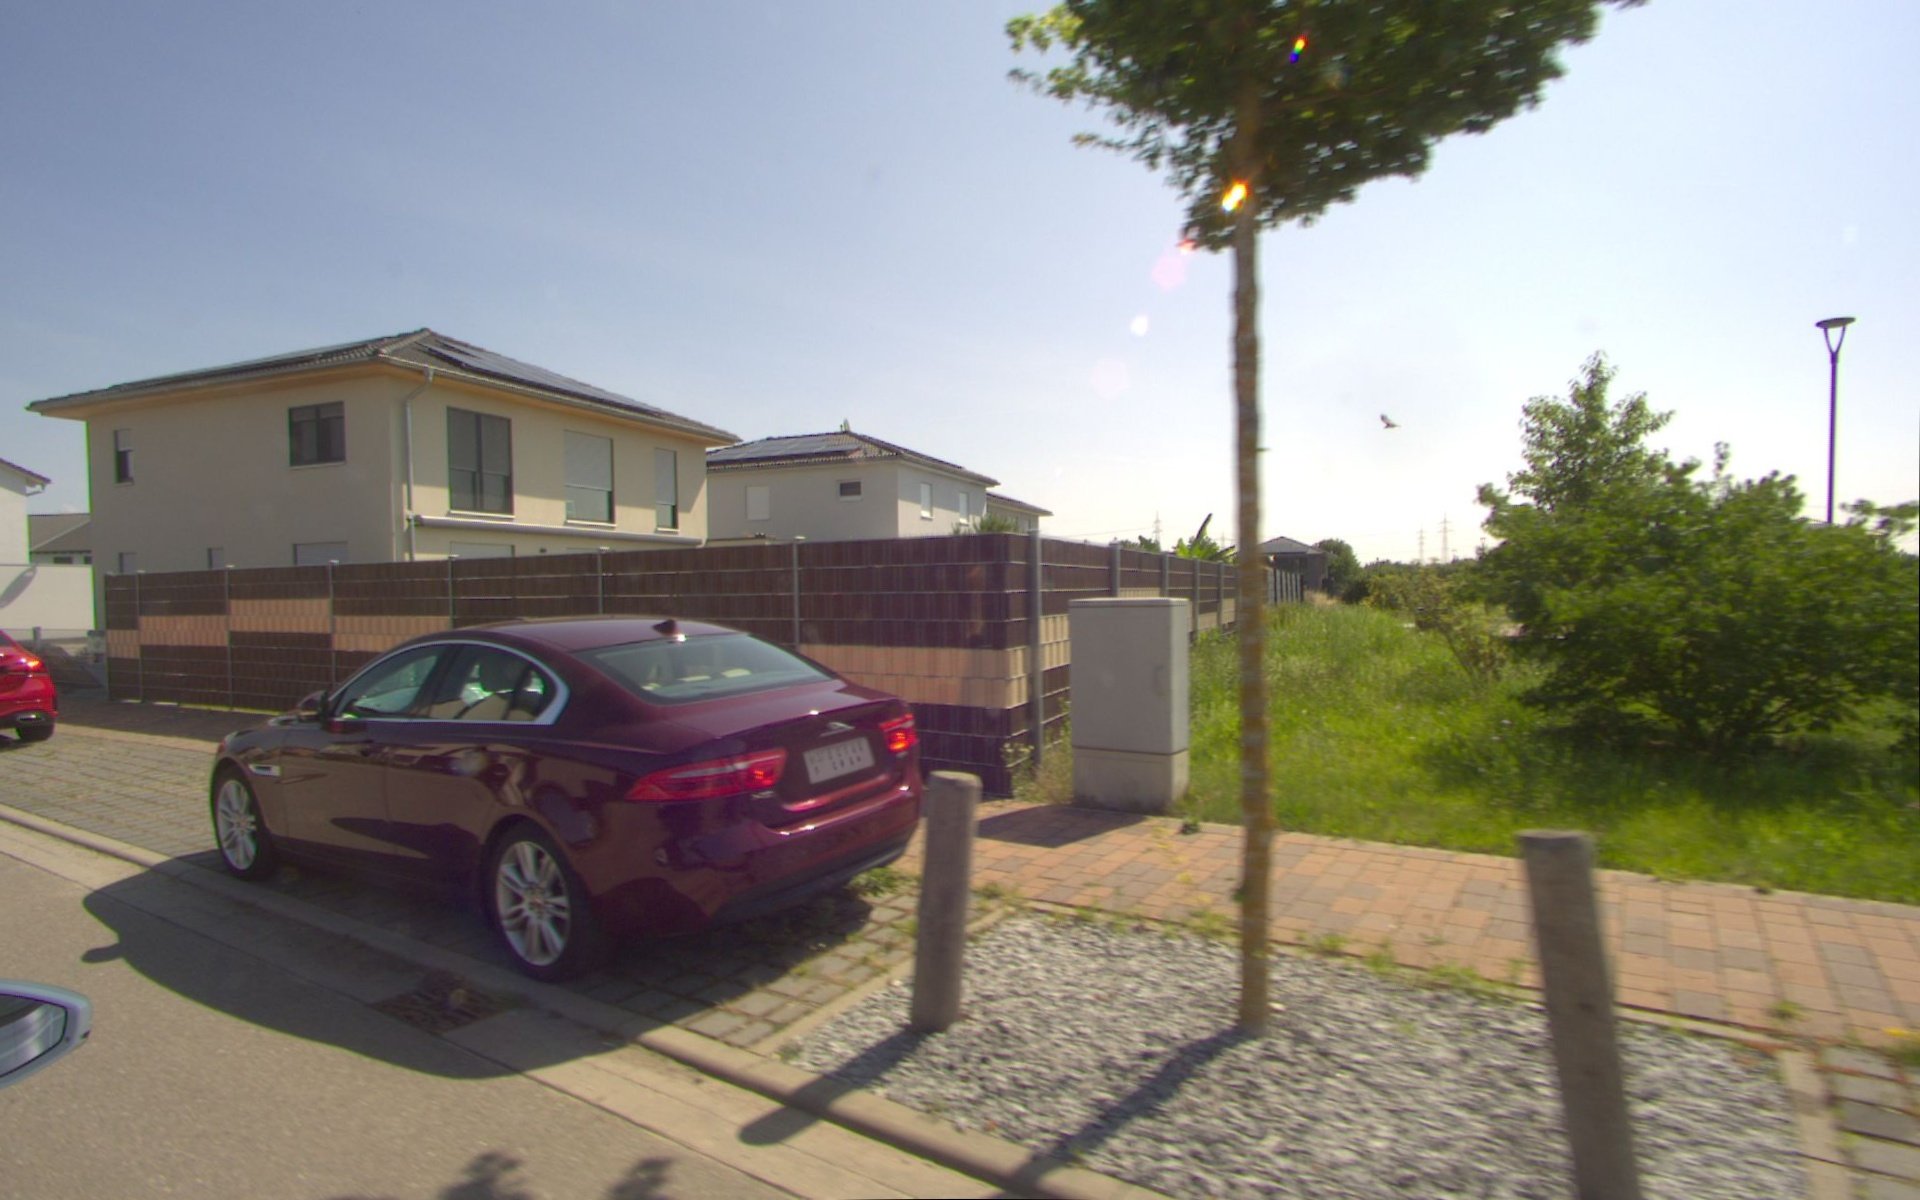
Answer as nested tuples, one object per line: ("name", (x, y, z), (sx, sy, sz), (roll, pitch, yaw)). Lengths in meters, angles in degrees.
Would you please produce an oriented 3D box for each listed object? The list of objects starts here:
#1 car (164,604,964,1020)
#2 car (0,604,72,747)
("car", (-2.335, 0.738, 5.385), (4.512, 1.381, 1.750), (0, 1, 34))
("car", (-11.921, 0.814, 11.232), (4.455, 1.457, 1.758), (0, 2, 33))
